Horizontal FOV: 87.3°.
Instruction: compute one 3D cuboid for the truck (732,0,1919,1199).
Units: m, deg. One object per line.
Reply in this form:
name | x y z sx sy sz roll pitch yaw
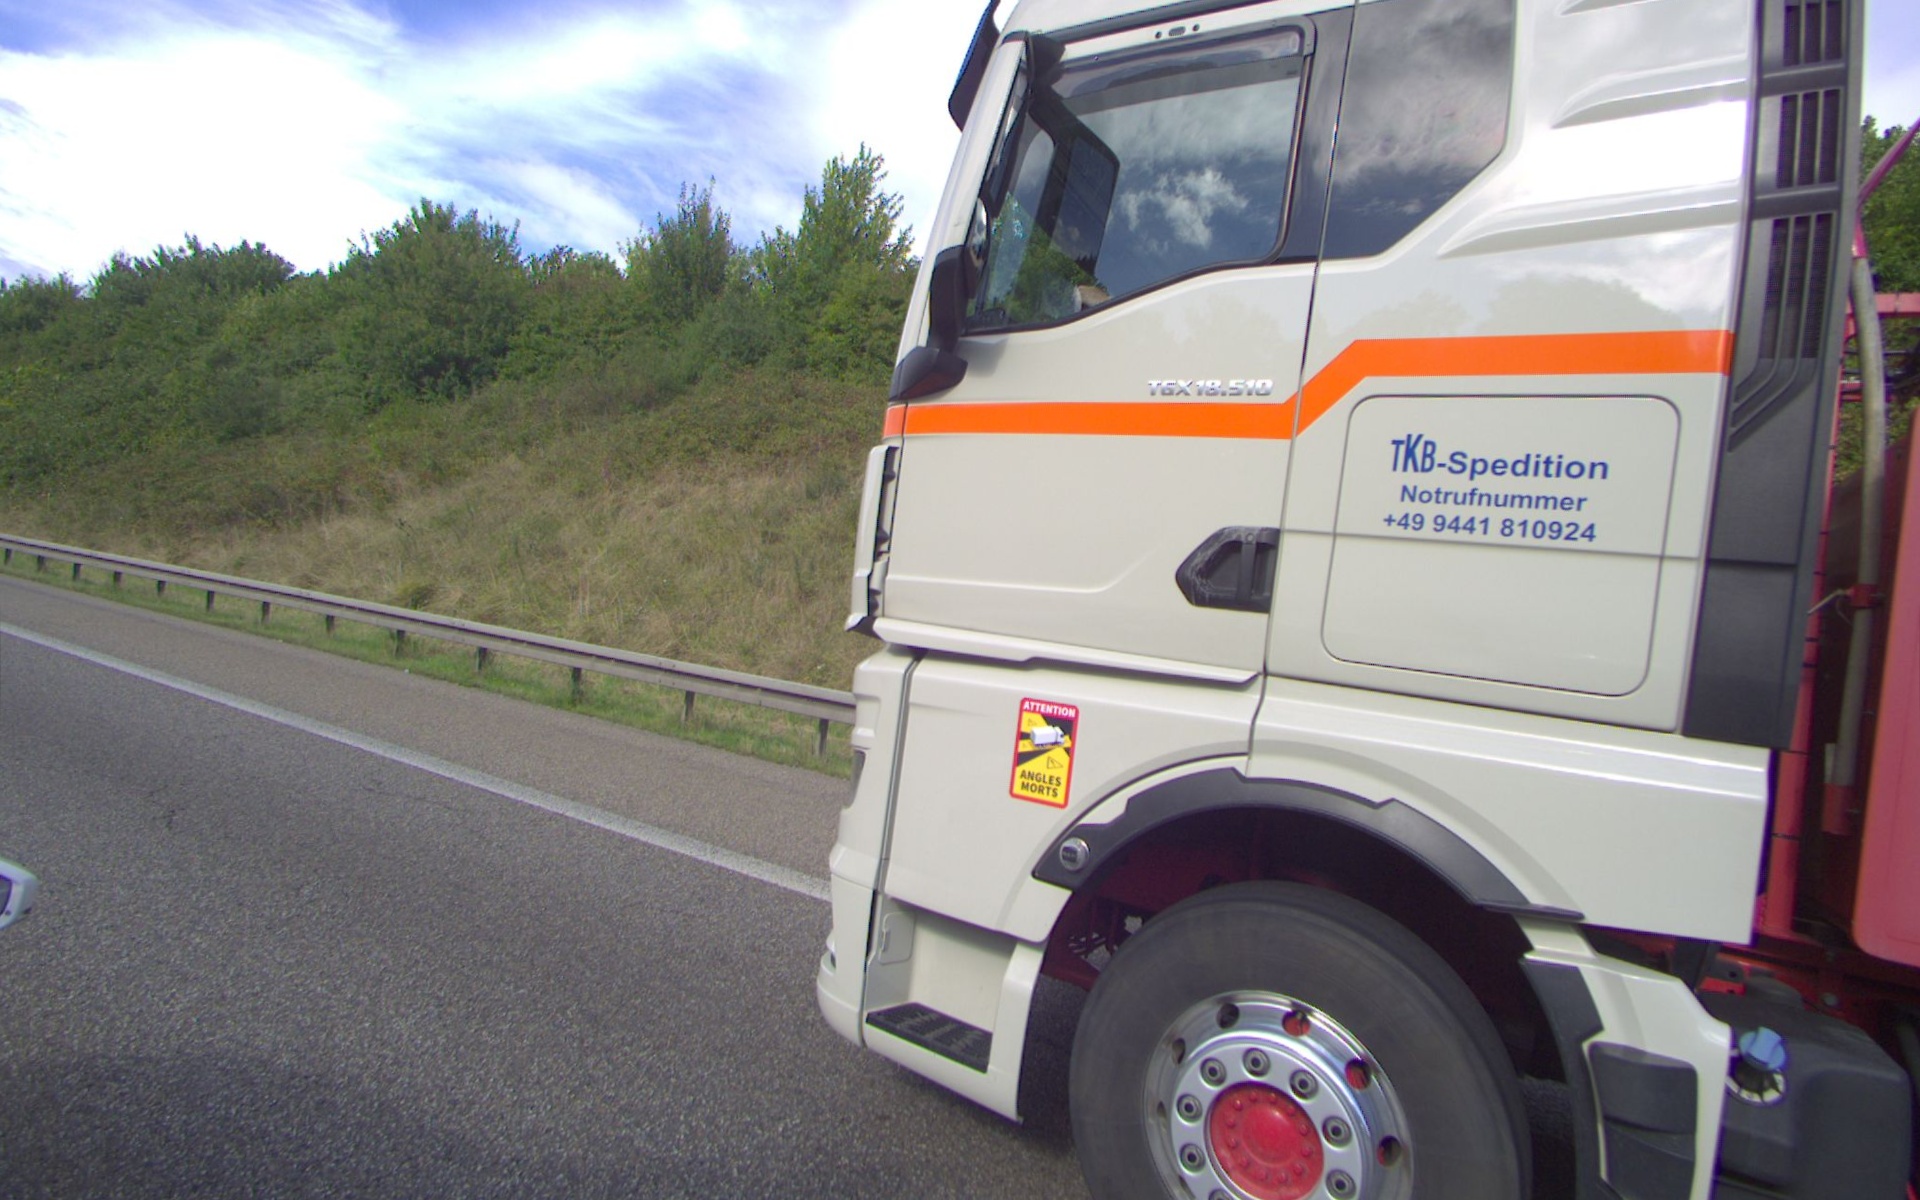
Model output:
truck | 2.772 -0.206 2.432 5.807 4.091 2.807 7 -1 32
